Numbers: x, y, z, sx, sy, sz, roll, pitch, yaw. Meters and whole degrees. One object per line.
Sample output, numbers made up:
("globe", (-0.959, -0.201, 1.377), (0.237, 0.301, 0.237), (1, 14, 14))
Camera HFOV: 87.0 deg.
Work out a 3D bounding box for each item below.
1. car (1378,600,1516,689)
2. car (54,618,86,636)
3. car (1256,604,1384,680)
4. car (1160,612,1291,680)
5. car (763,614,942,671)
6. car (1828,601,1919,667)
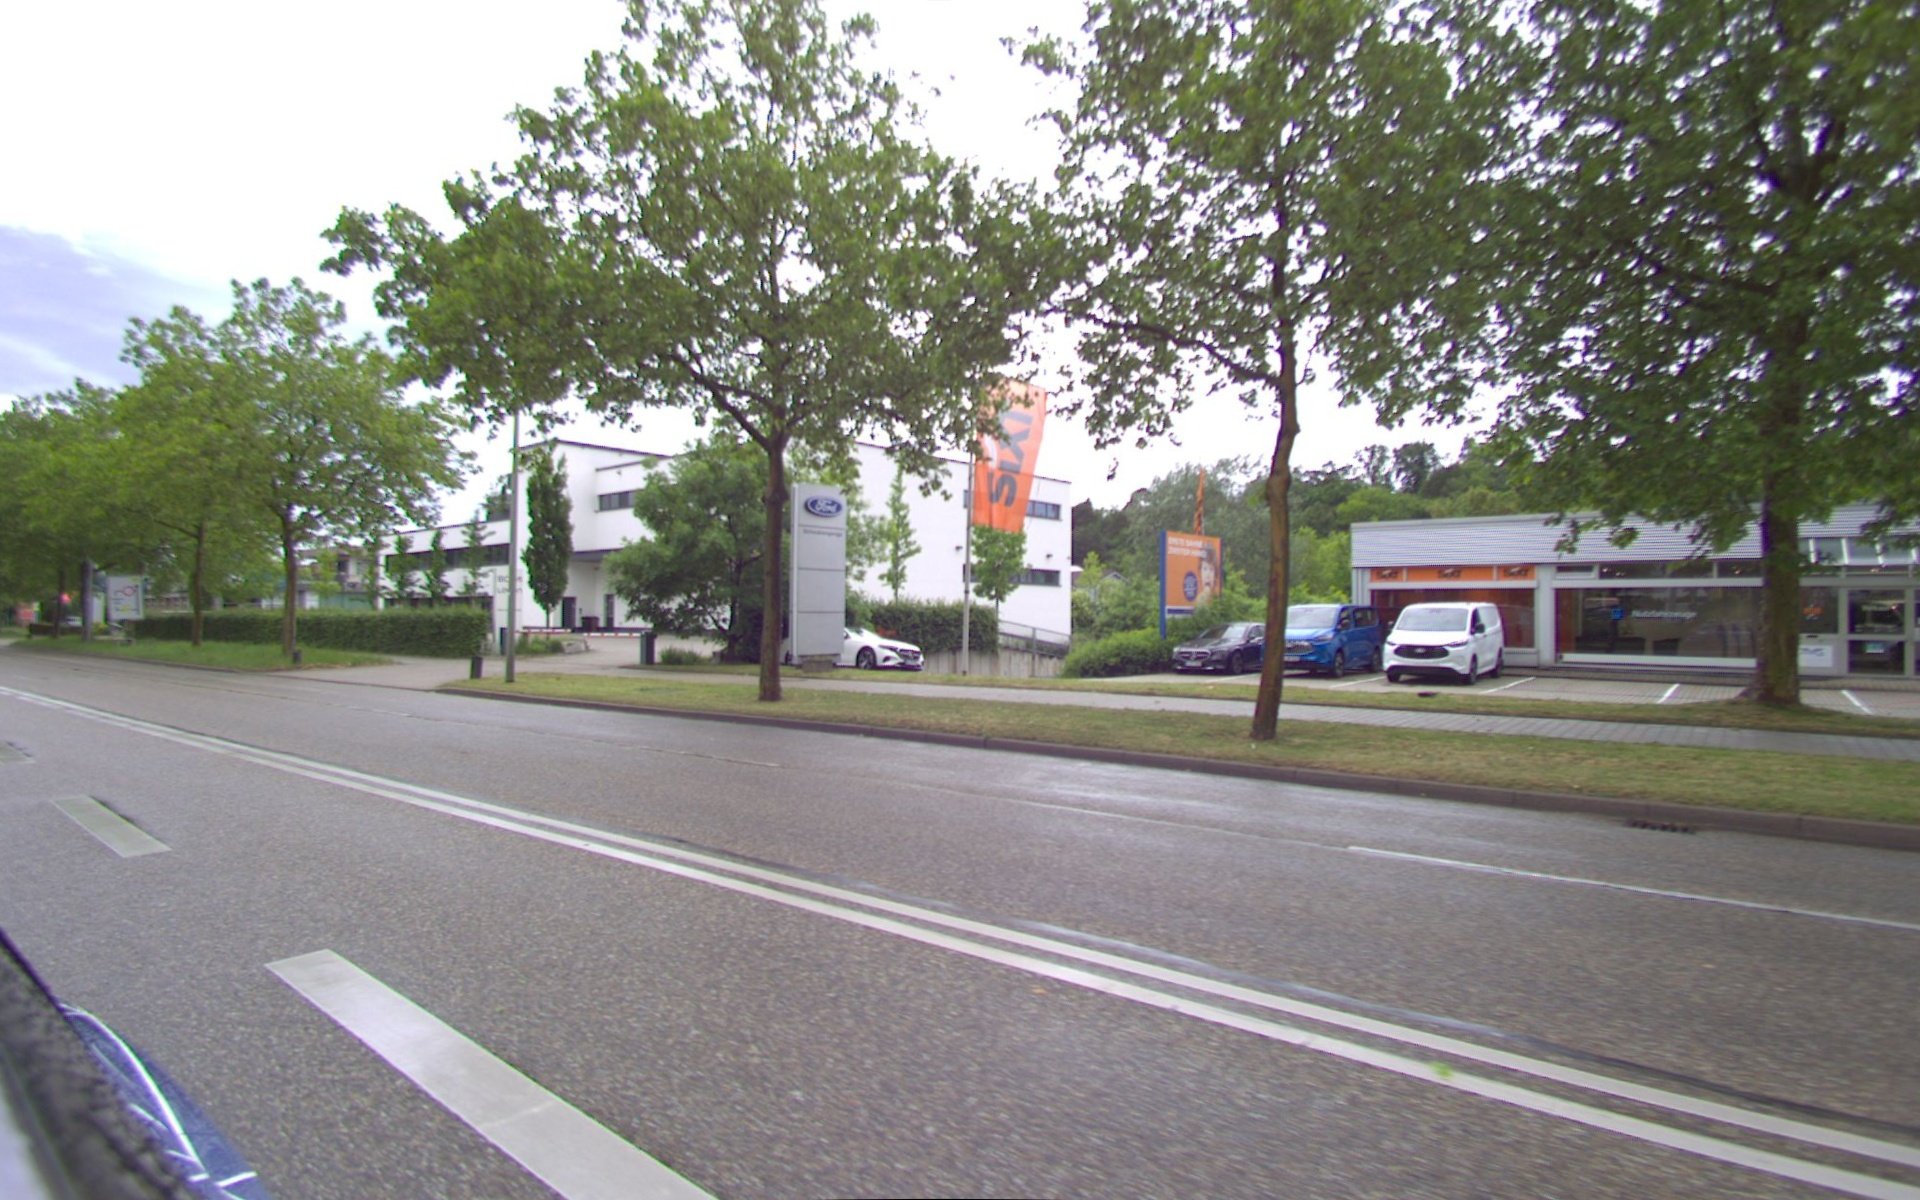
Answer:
("car", (12.465, 1.066, 25.715), (2.127, 2.029, 4.996), (-1, -2, 38))
("car", (-81.937, 2.481, 93.139), (3.999, 1.545, 1.723), (-1, -3, 42))
("car", (9.805, 1.104, 27.395), (1.962, 1.904, 3.945), (-1, -2, 41))
("car", (7.731, 1.280, 29.230), (2.065, 1.827, 4.083), (-1, -2, 41))
("car", (-3.191, 1.190, 29.269), (5.242, 1.507, 2.097), (-1, -2, 40))
("car", (26.910, 0.924, 28.239), (1.884, 1.757, 3.889), (-1, 0, -3))
